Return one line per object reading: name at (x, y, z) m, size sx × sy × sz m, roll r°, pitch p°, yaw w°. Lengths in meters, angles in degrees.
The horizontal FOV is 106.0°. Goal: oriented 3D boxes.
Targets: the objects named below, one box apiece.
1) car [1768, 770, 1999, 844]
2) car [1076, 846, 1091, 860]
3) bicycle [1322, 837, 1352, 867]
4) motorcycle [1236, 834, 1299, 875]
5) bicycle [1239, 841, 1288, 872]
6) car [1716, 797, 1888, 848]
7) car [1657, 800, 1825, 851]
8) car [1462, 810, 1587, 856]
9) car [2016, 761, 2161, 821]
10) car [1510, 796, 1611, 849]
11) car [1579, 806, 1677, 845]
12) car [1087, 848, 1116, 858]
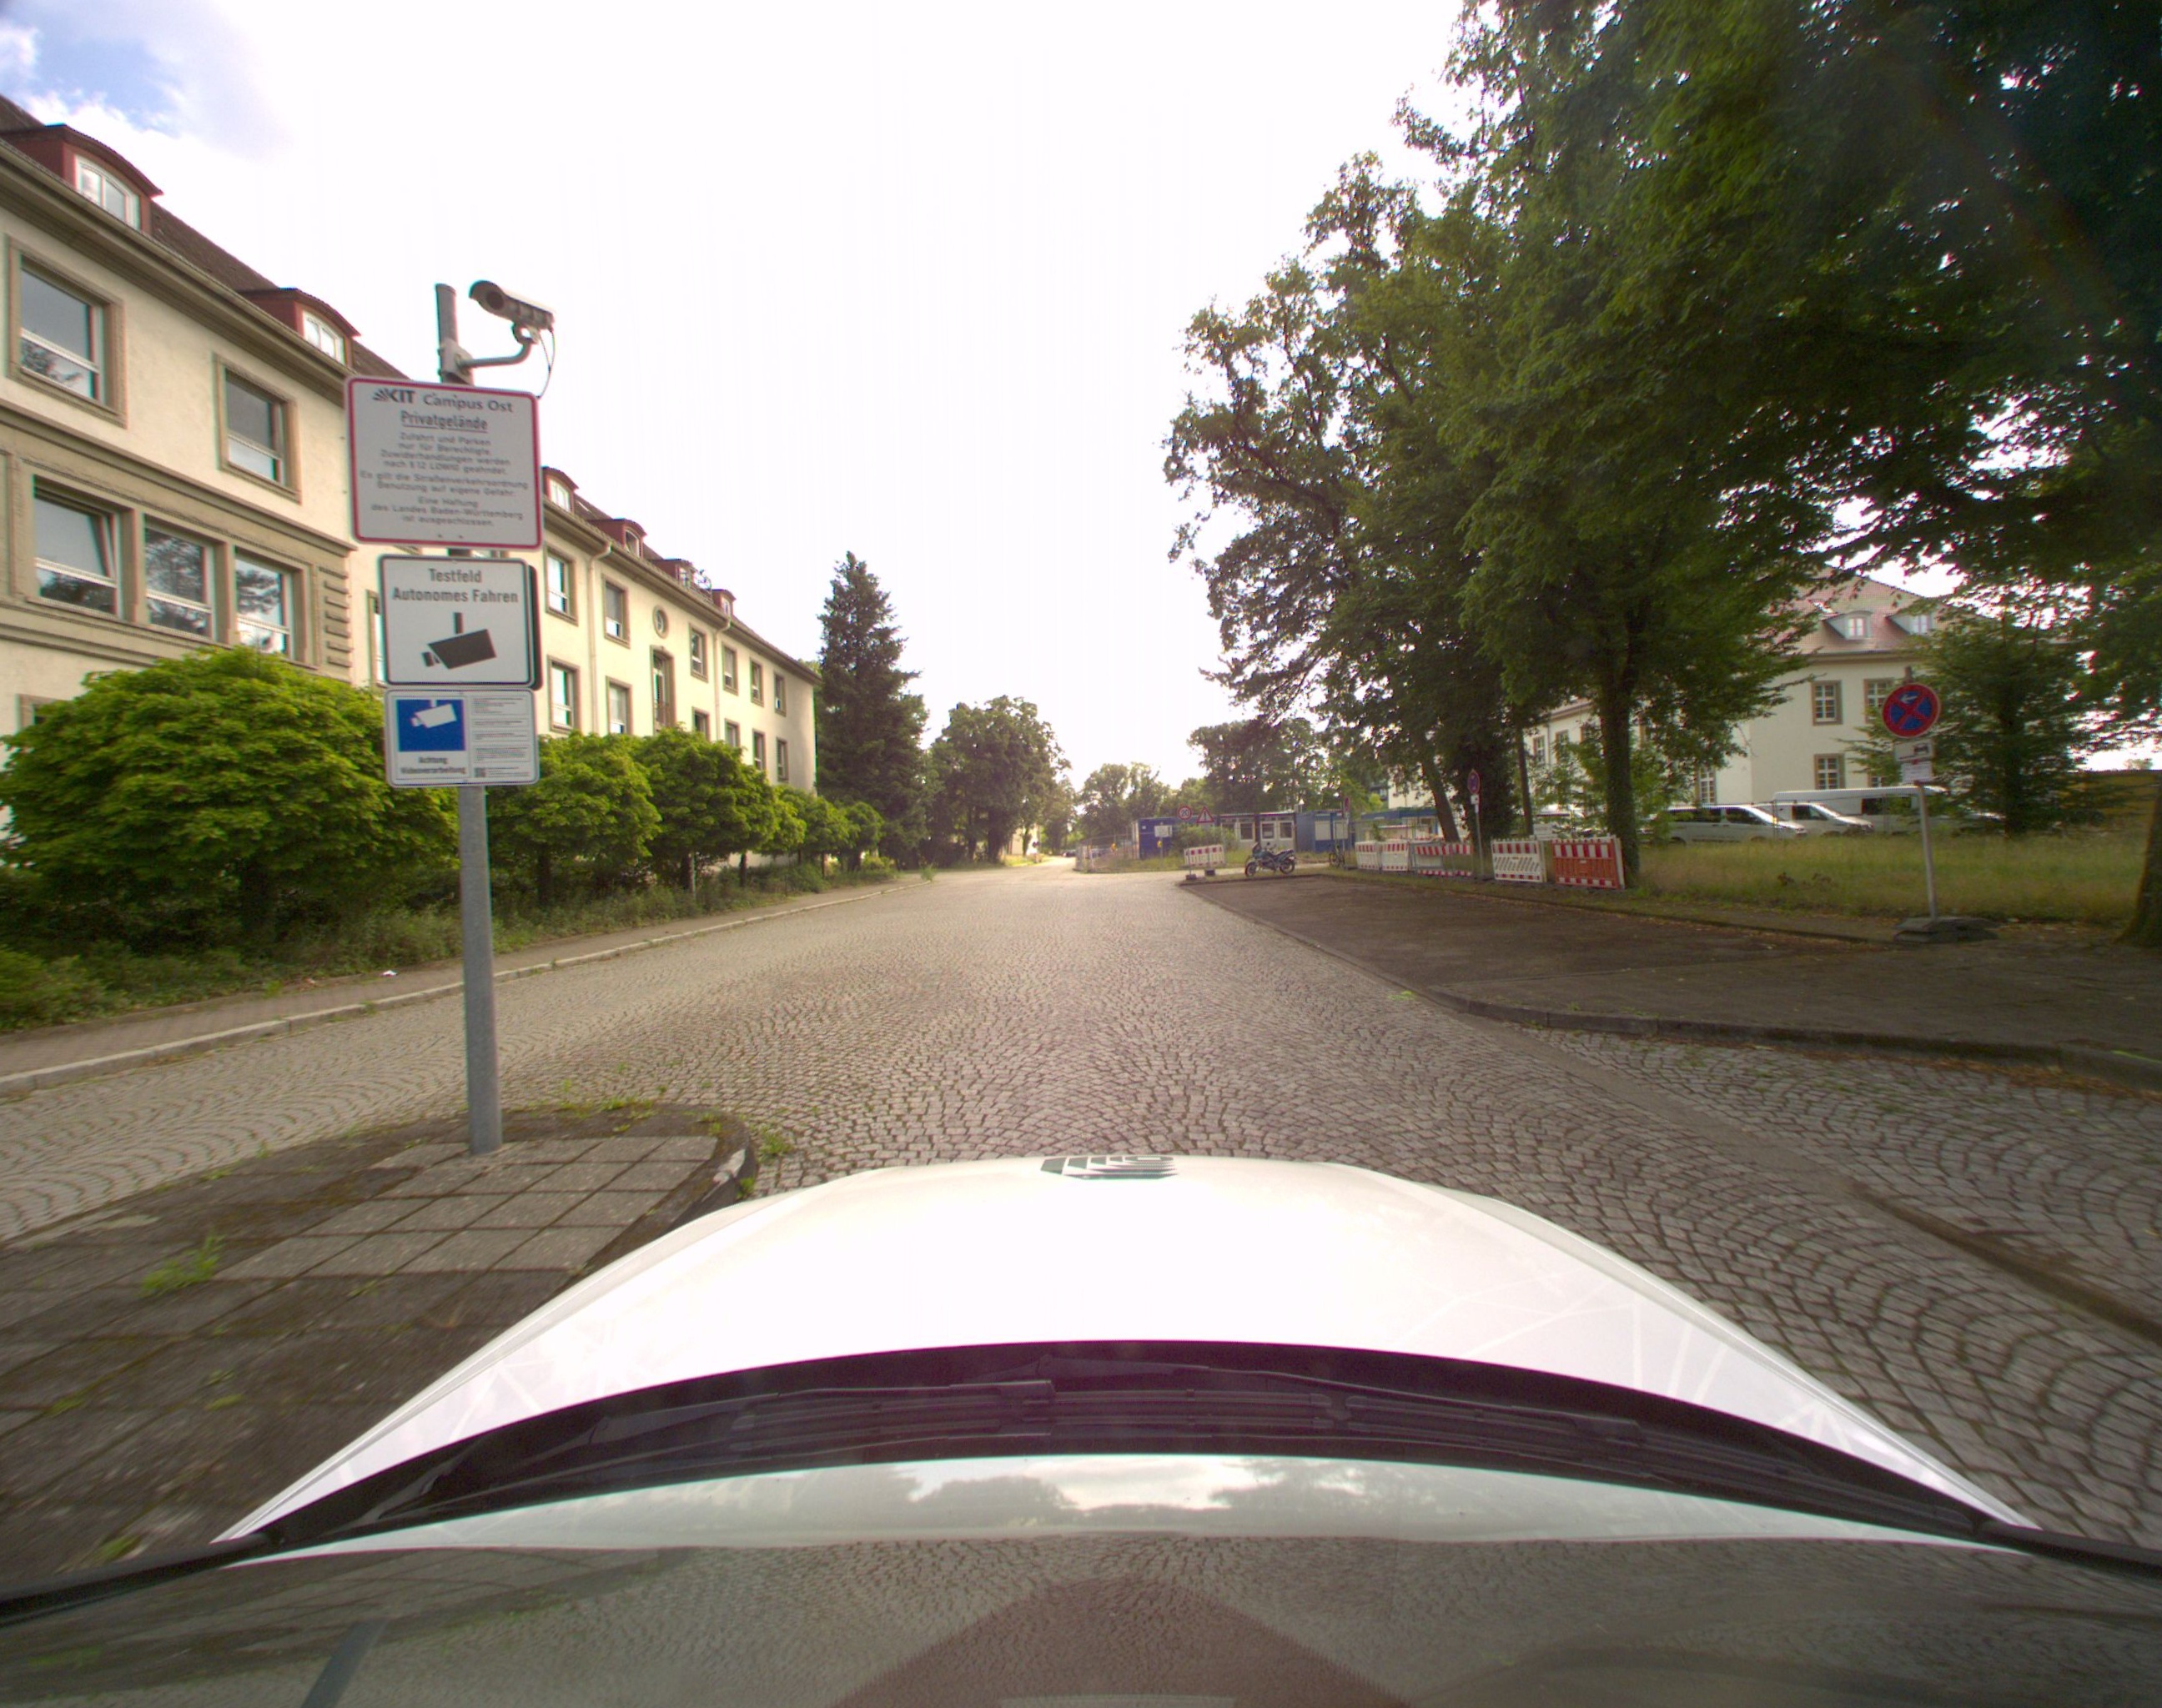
car at (32.301, -1.771, 33.107) m, size 2.006 × 2.578 × 6.362 m, roll -1°, pitch 0°, yaw -29°
car at (0.376, -0.188, 123.381) m, size 1.988 × 2.013 × 4.089 m, roll -2°, pitch 0°, yaw -1°
bicycle at (10.579, -0.104, 33.724) m, size 0.640 × 1.169 × 1.906 m, roll -3°, pitch 0°, yaw 2°
motorcycle at (7.386, 0.033, 32.260) m, size 2.273 × 1.485 × 0.755 m, roll -3°, pitch 0°, yaw -6°
bicycle at (7.768, 0.095, 34.636) m, size 1.883 × 1.197 × 0.659 m, roll -3°, pitch 0°, yaw 19°
car at (29.092, -1.218, 33.080) m, size 2.004 × 1.825 × 4.832 m, roll -1°, pitch 0°, yaw -27°
car at (26.391, -1.075, 32.779) m, size 2.004 × 1.825 × 4.832 m, roll -1°, pitch 0°, yaw -27°
car at (20.870, -1.008, 38.482) m, size 4.842 × 1.920 × 1.907 m, roll -3°, pitch 1°, yaw 0°
car at (40.158, -2.413, 31.192) m, size 6.120 × 2.095 × 2.212 m, roll -1°, pitch 0°, yaw 0°
car at (25.097, -1.576, 42.940) m, size 1.986 × 2.556 × 5.913 m, roll -1°, pitch 0°, yaw 2°
car at (28.625, -1.440, 42.845) m, size 1.986 × 1.825 × 4.877 m, roll -1°, pitch 0°, yaw 2°
car at (3.267, -0.129, 129.158) m, size 4.378 × 1.510 × 2.004 m, roll -1°, pitch 0°, yaw 7°
